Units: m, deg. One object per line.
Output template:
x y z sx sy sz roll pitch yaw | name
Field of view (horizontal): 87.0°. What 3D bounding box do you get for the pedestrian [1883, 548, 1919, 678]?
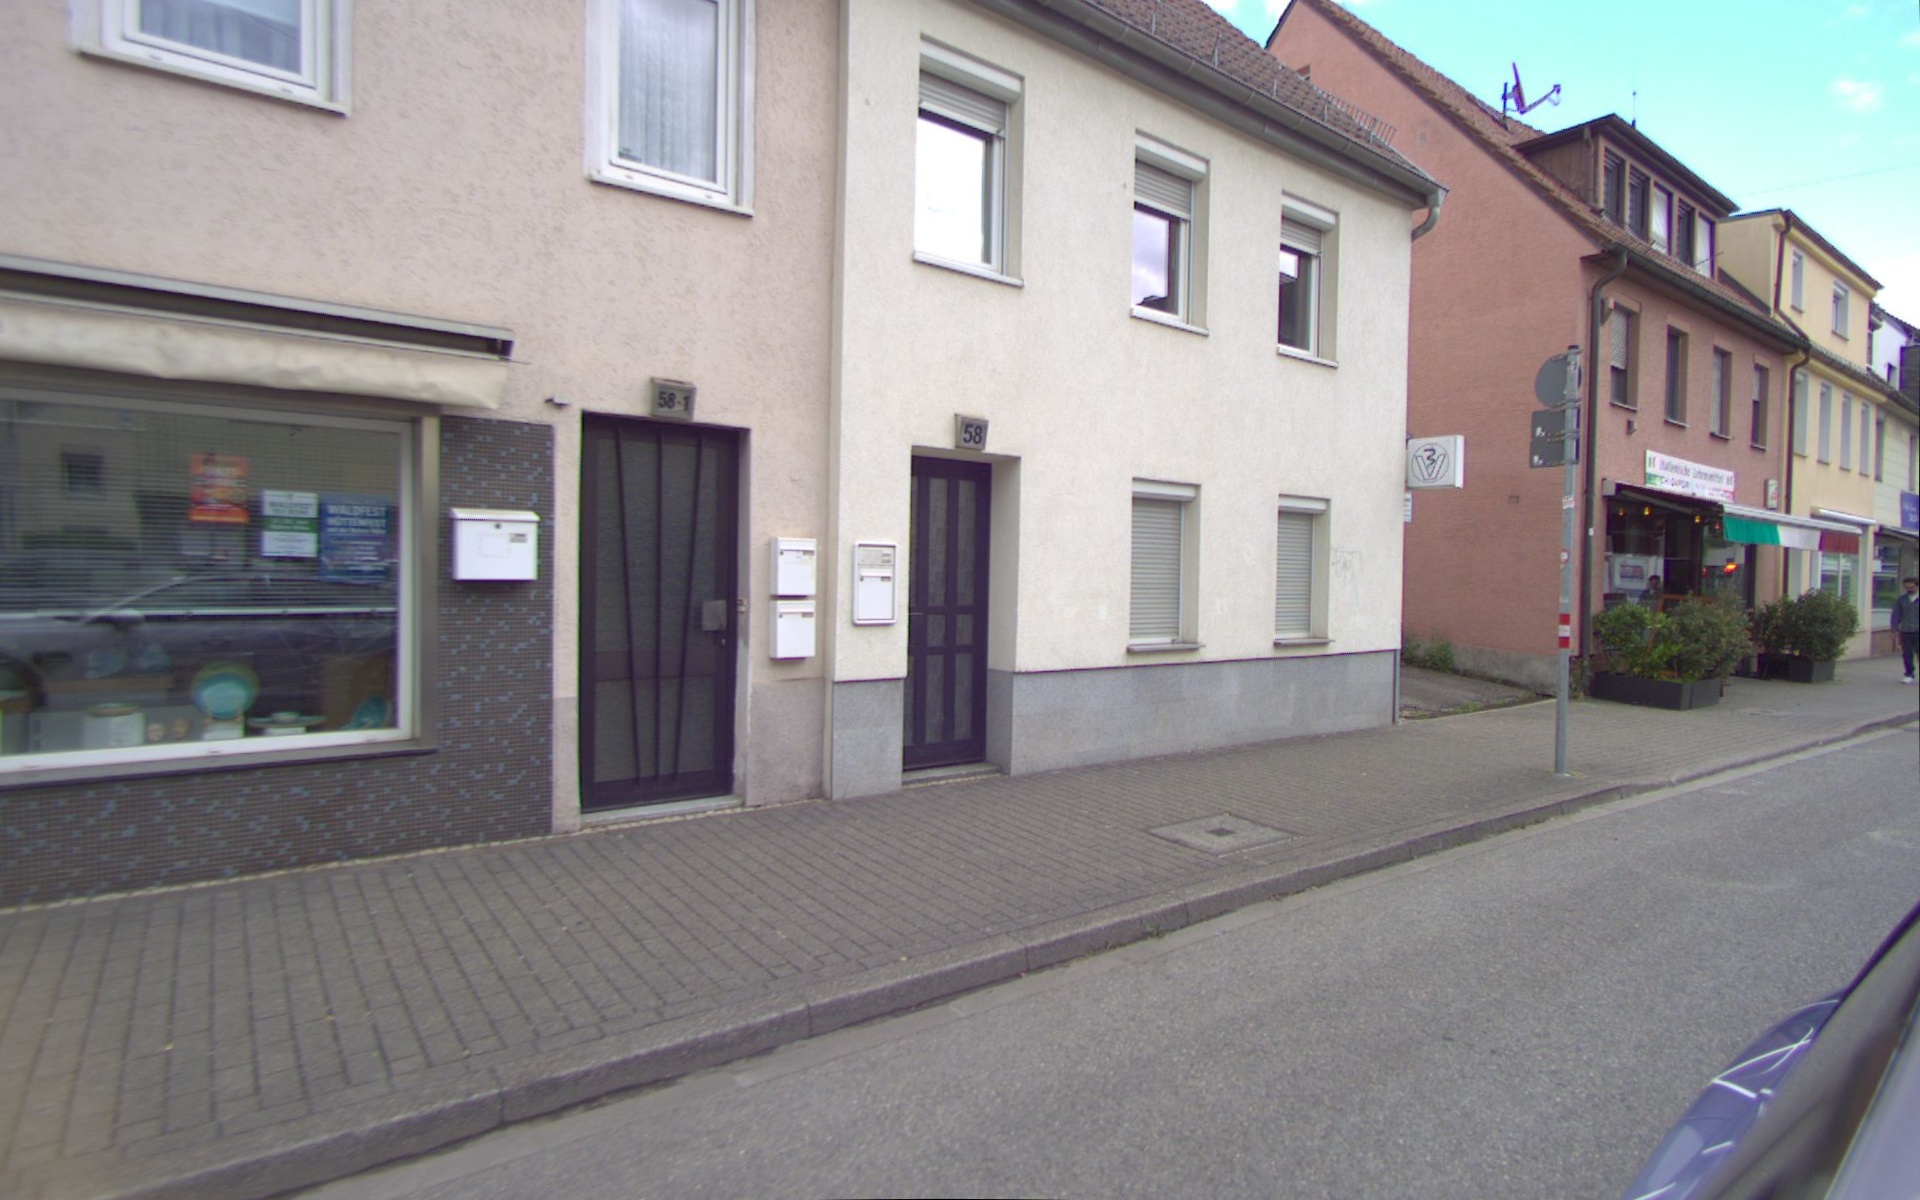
16.062 0.215 16.765 0.992 2.099 0.827 0 4 -37 | pedestrian
